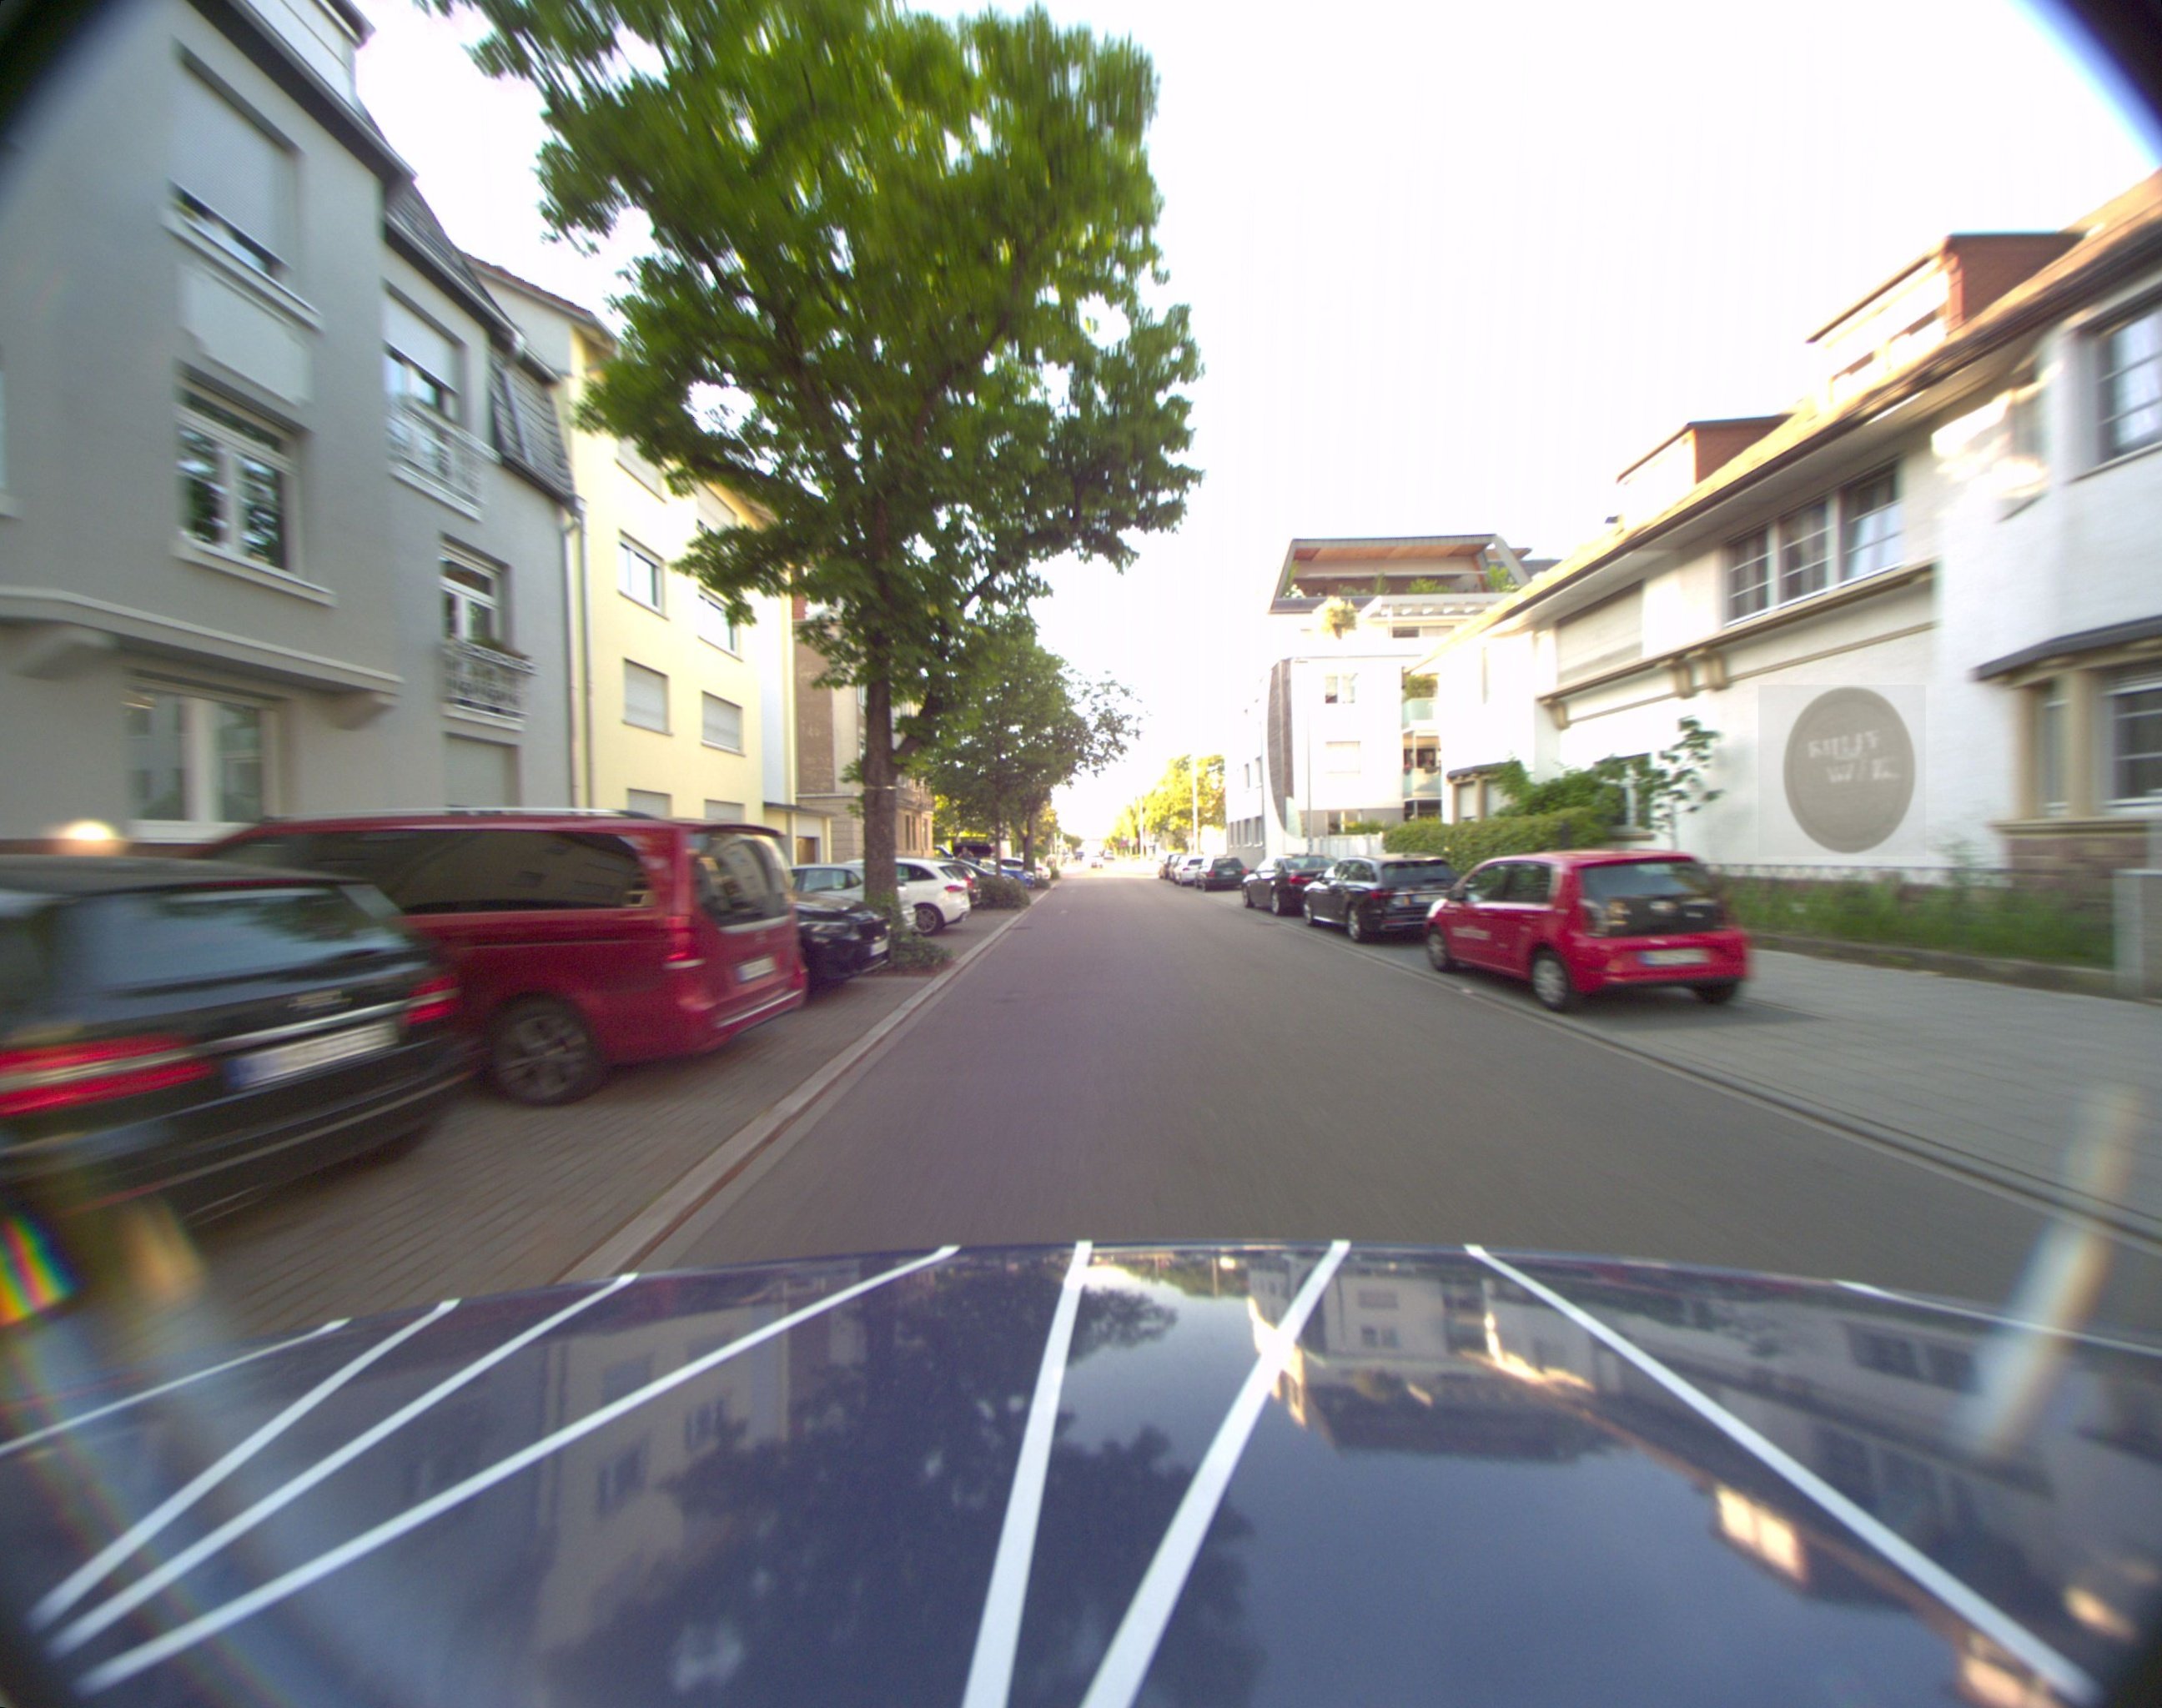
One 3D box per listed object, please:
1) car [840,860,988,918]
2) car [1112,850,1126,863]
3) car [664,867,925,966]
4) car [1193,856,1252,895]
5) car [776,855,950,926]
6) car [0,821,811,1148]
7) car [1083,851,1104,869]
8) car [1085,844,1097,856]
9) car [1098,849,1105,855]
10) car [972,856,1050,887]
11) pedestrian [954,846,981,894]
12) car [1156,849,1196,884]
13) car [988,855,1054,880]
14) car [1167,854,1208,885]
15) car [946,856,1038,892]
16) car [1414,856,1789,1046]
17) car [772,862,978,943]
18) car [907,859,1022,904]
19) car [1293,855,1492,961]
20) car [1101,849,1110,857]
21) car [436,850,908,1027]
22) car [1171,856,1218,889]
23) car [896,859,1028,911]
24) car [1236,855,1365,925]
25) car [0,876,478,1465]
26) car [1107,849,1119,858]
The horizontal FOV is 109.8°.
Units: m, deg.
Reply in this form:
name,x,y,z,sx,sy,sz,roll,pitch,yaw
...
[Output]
name,x,y,z,sx,sy,sz,roll,pitch,yaw
car,-4.526,0.937,20.902,3.680,1.434,1.601,-1,1,1
car,5.499,0.311,110.620,1.913,1.679,4.198,-3,0,1
car,-4.616,0.982,12.614,3.680,1.453,1.616,-1,1,1
car,5.714,0.821,31.064,1.723,1.386,3.908,-3,0,2
car,-5.176,0.842,18.389,3.680,1.589,1.676,-1,1,1
car,-4.763,0.803,5.574,4.819,1.925,1.950,-1,1,1
car,1.241,0.584,76.034,1.998,1.690,4.424,-2,0,0
car,1.662,-0.667,123.215,1.913,1.679,4.198,-3,0,1
car,6.336,-0.699,233.678,1.913,1.679,4.198,-3,0,1
car,-3.566,0.891,38.776,3.828,1.477,1.600,-1,1,-6
pedestrian,-4.836,0.670,32.459,0.999,2.002,0.981,-1,1,-2
car,5.763,0.721,46.430,1.913,1.937,4.198,-3,1,1
car,-3.602,0.806,46.259,3.825,1.477,1.601,-1,1,1
car,5.673,0.792,40.823,1.723,1.489,3.908,-3,0,2
car,-3.866,0.868,33.369,3.825,1.477,1.601,-1,1,1
car,5.091,0.819,8.051,1.654,1.474,3.429,-3,1,2
car,-4.080,0.943,15.445,3.680,1.488,1.676,-1,1,1
car,-4.092,0.947,27.083,3.825,1.477,1.601,-1,1,1
car,5.271,0.809,13.553,1.742,1.451,4.378,-3,0,1
car,6.046,-0.229,187.280,1.913,1.679,4.198,-3,0,1
car,-4.248,0.839,8.321,4.207,1.695,1.792,-1,1,4
car,5.393,0.826,36.400,1.723,1.386,3.908,-3,0,2
car,-3.522,0.918,22.863,3.680,1.434,1.601,-1,1,1
car,5.389,0.806,19.277,1.743,1.451,4.564,-3,0,-2
car,-4.967,0.942,2.941,3.903,1.594,1.687,-1,1,1
car,5.940,-0.113,141.719,1.913,1.679,4.198,-3,0,1
